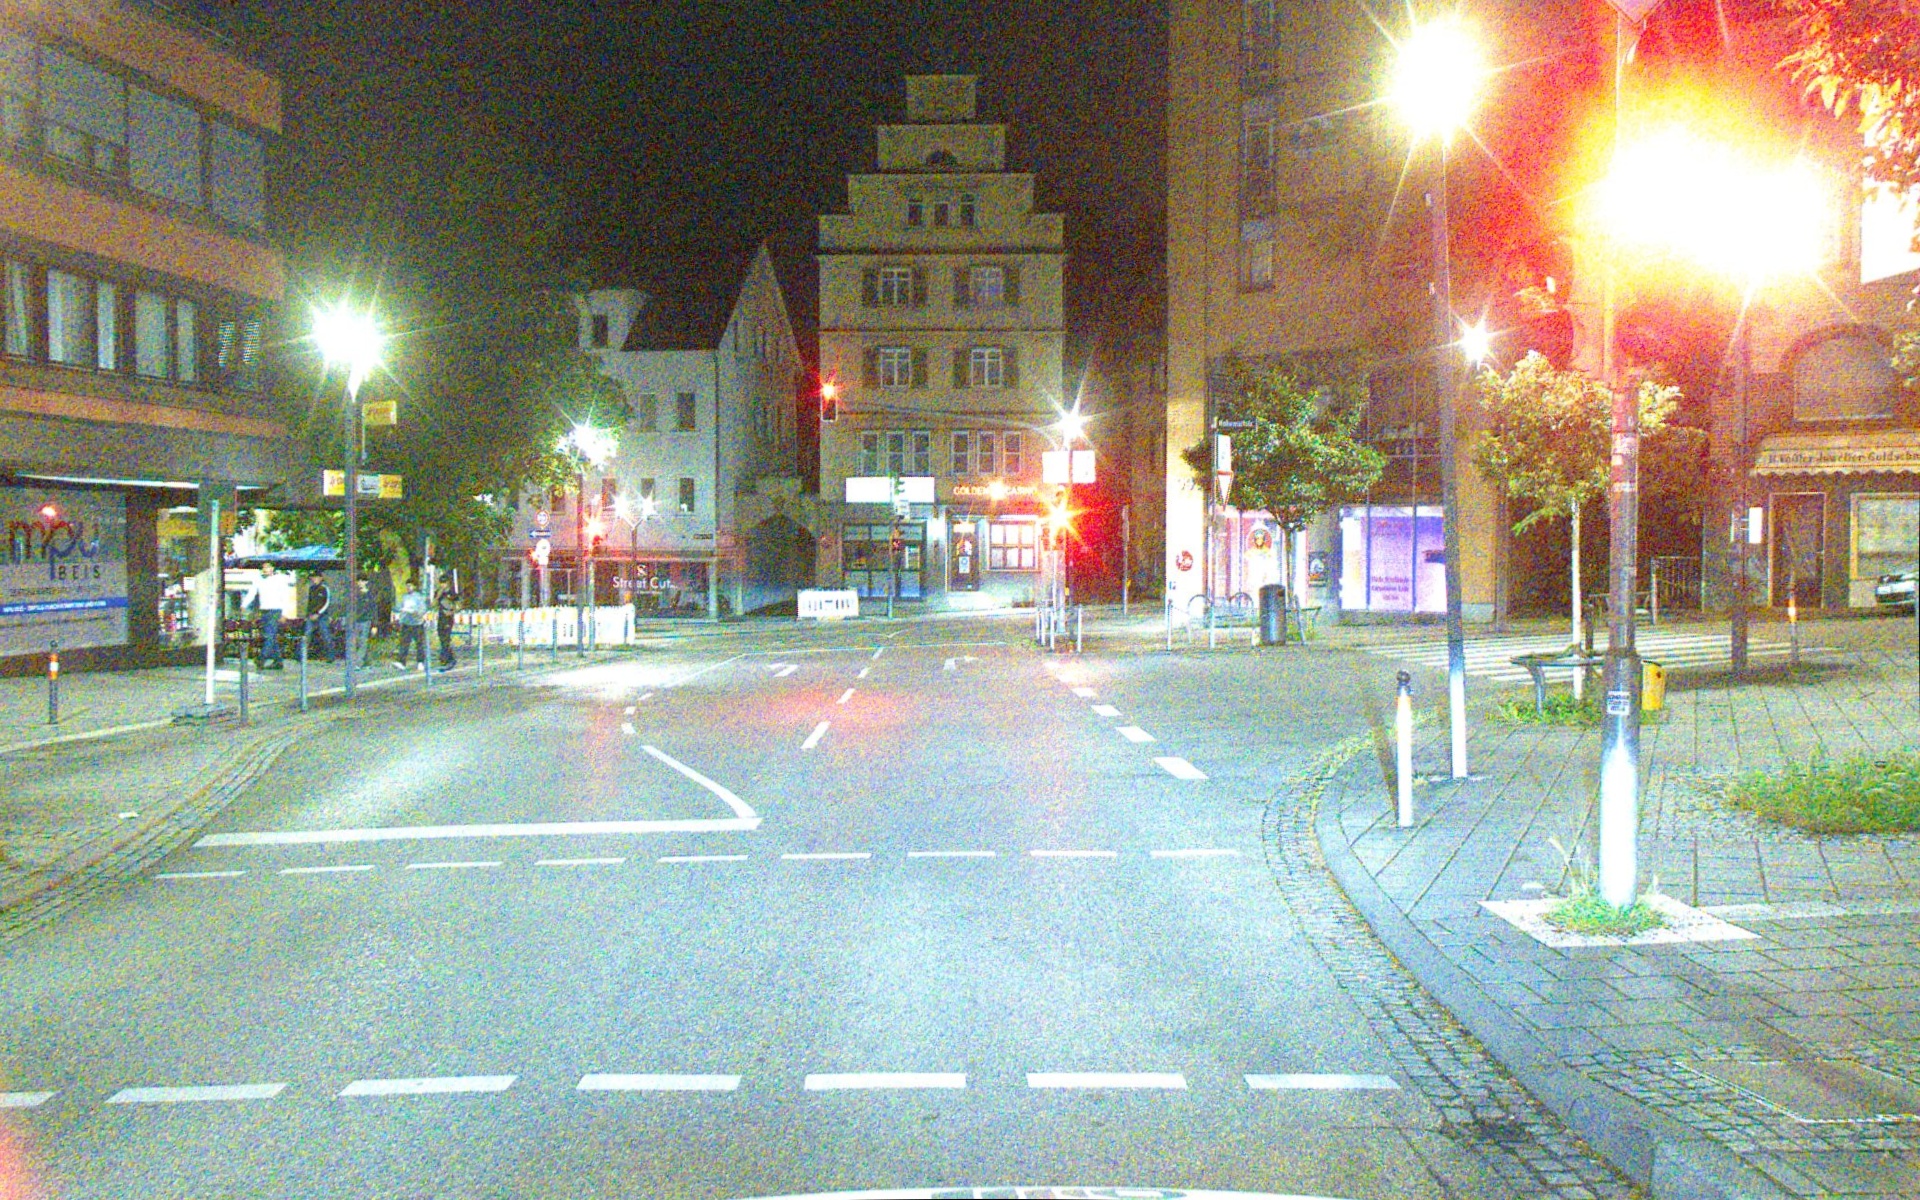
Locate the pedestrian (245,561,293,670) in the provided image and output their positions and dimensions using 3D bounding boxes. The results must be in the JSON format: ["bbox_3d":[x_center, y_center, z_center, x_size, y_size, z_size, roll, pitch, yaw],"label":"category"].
[{"bbox_3d":[-11.738,0.269,28.102,0.706,1.827,0.566,1,-2,-22],"label":"pedestrian"}]

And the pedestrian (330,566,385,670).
[{"bbox_3d":[-10.692,0.322,29.364,0.701,1.827,0.570,1,-1,6],"label":"pedestrian"}]

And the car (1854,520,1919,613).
[{"bbox_3d":[17.171,-0.644,27.145,3.956,1.478,1.827,-3,1,6],"label":"car"}]

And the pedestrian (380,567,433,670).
[{"bbox_3d":[-9.937,0.336,29.706,0.701,1.827,0.570,1,-1,6],"label":"pedestrian"}]

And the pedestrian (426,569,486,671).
[{"bbox_3d":[-9.199,0.368,30.202,0.702,1.827,0.736,0,-2,26],"label":"pedestrian"}]

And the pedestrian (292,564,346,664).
[{"bbox_3d":[-11.930,0.263,30.798,0.701,1.827,0.570,1,-1,6],"label":"pedestrian"}]
